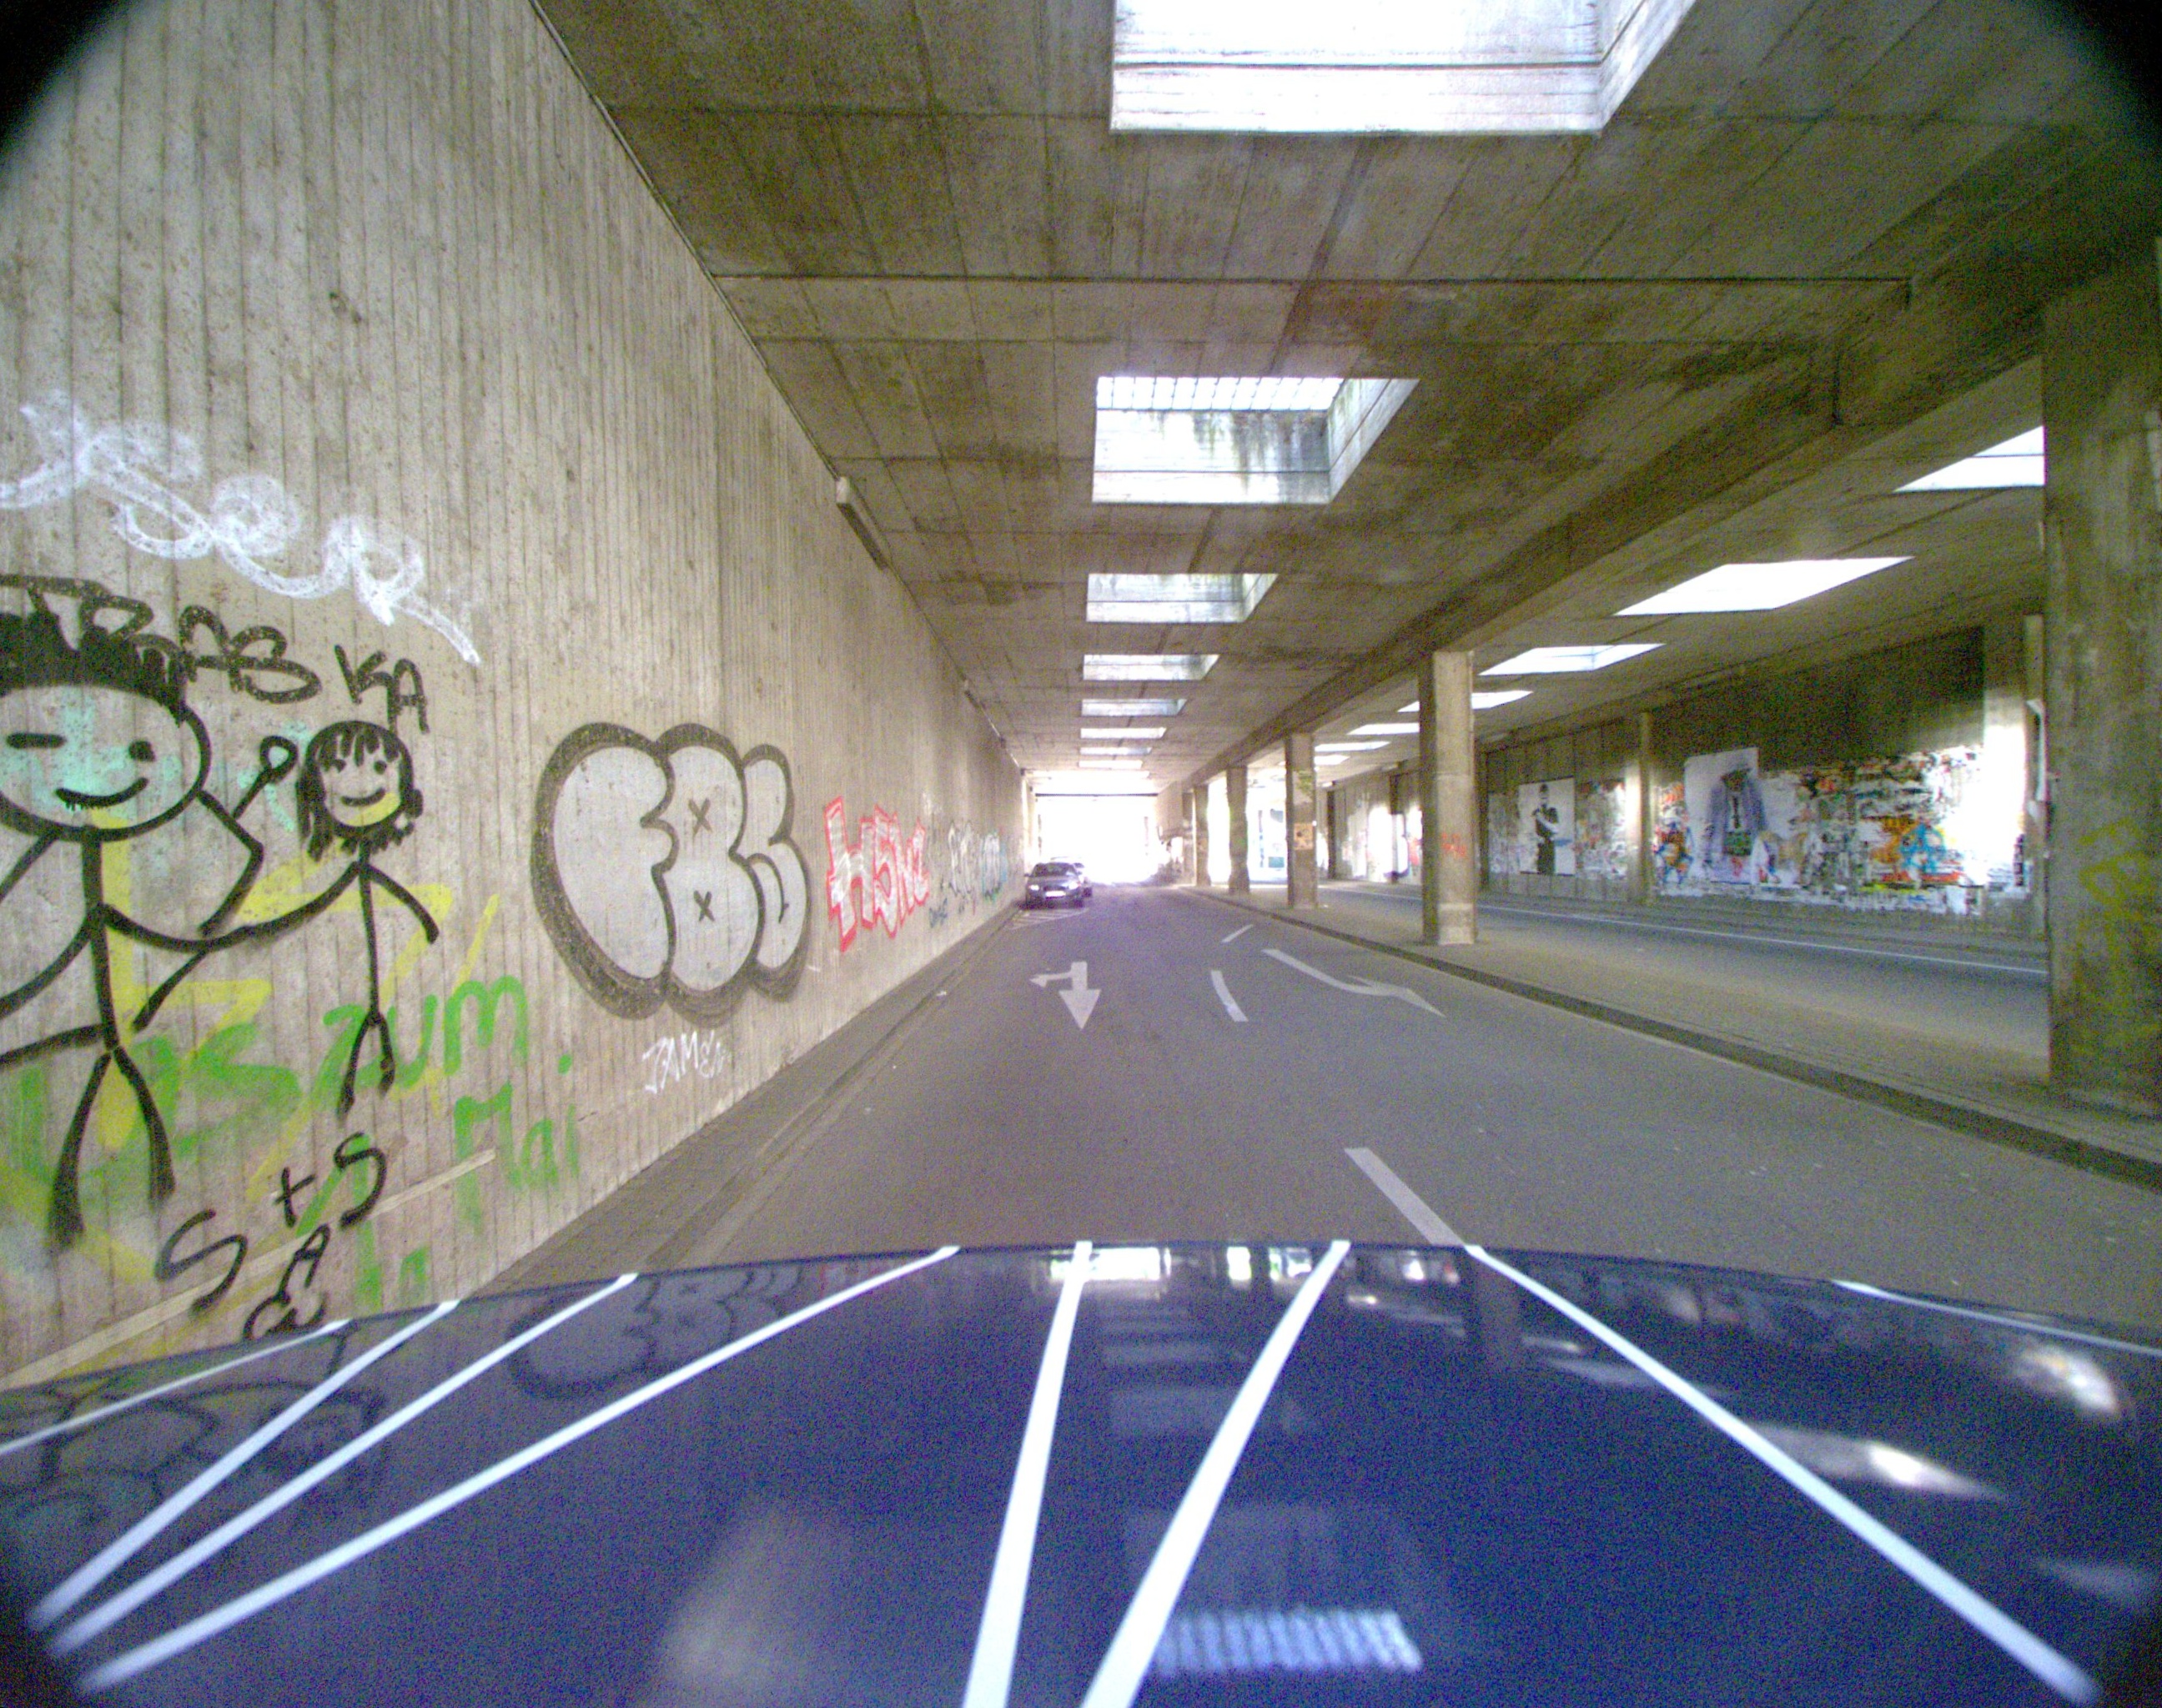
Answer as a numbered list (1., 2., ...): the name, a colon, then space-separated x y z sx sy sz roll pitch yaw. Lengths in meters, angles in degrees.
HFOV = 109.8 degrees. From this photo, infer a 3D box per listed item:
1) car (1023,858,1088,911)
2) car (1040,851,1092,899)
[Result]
1. car: -0.717 0.905 24.078 1.808 1.460 4.000 -2 0 1
2. car: -0.511 0.761 29.852 1.861 1.709 4.000 -2 0 1
